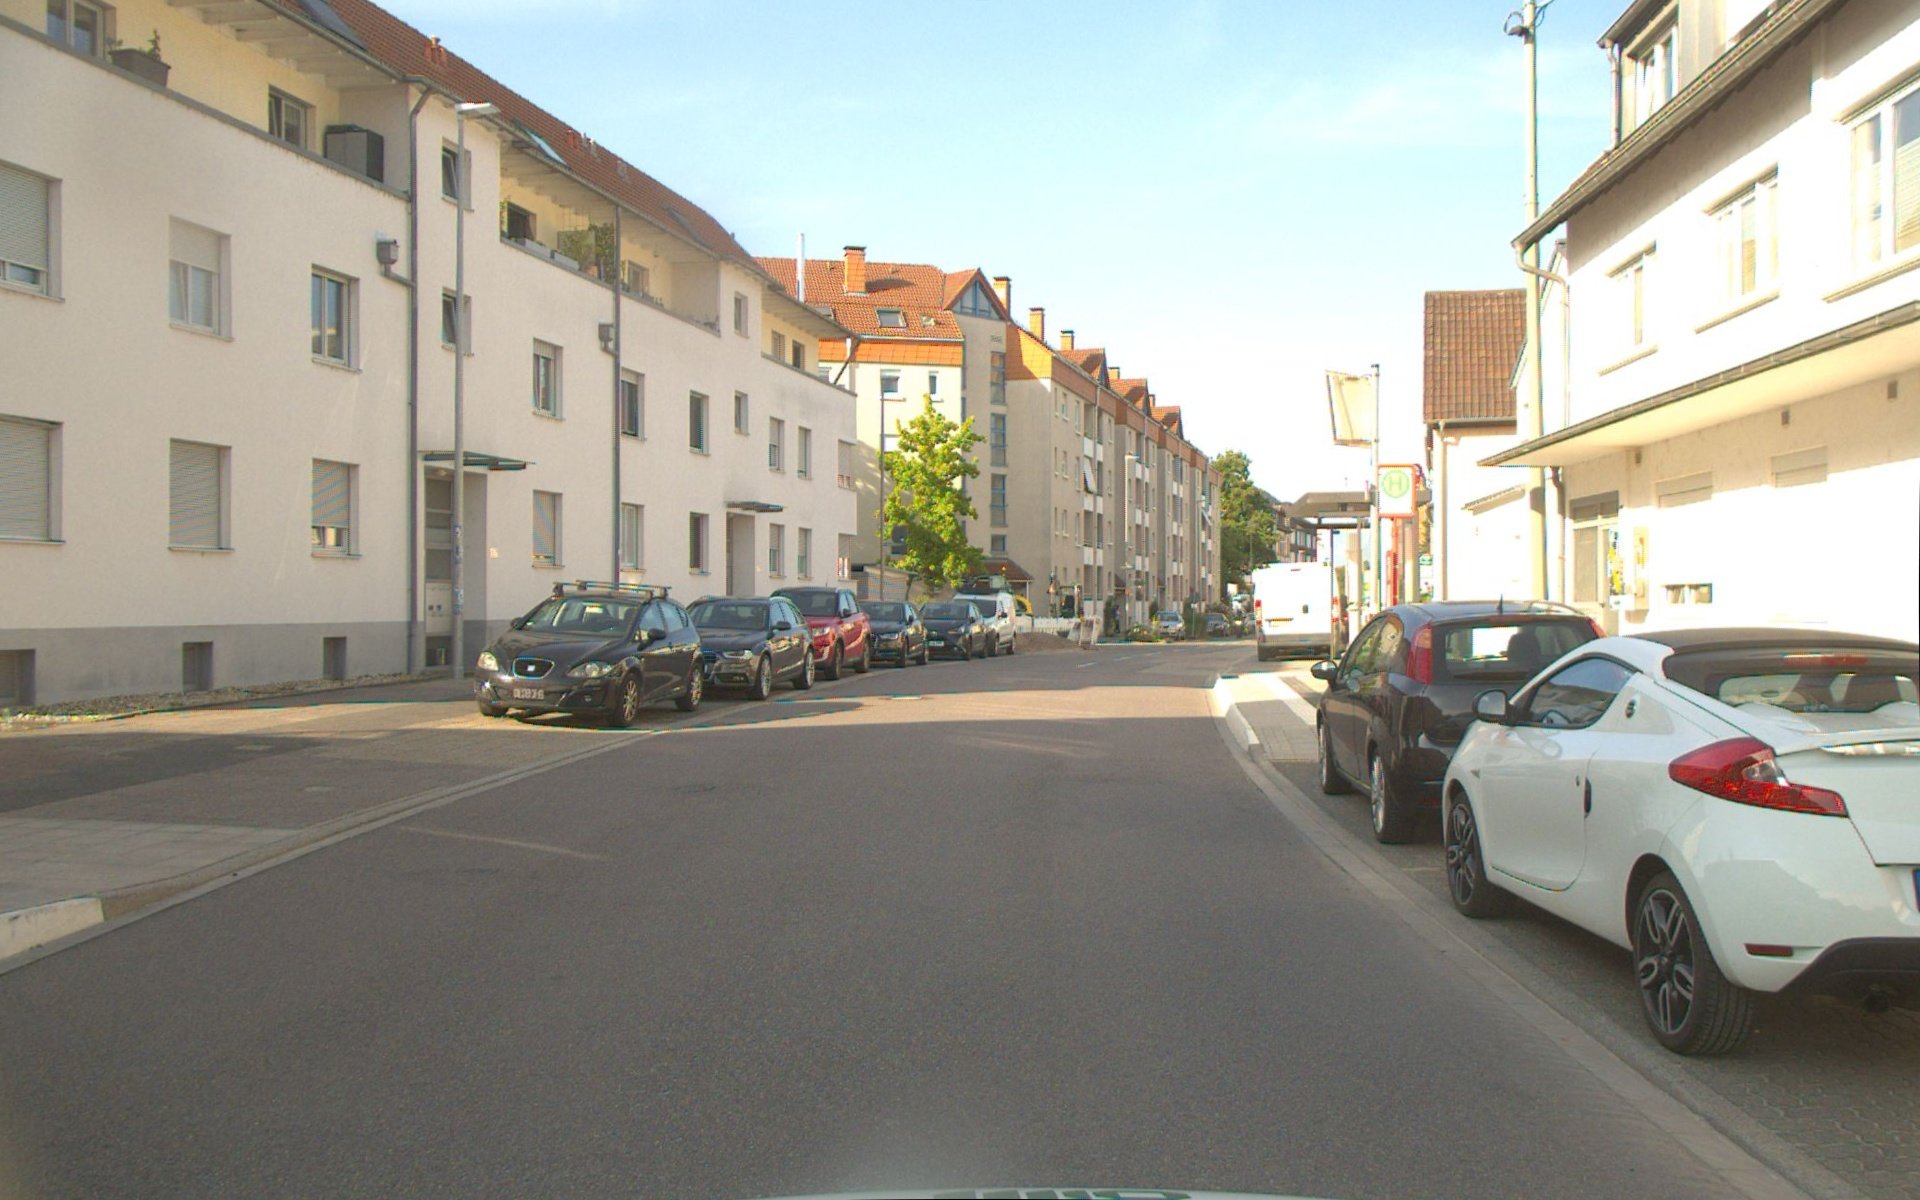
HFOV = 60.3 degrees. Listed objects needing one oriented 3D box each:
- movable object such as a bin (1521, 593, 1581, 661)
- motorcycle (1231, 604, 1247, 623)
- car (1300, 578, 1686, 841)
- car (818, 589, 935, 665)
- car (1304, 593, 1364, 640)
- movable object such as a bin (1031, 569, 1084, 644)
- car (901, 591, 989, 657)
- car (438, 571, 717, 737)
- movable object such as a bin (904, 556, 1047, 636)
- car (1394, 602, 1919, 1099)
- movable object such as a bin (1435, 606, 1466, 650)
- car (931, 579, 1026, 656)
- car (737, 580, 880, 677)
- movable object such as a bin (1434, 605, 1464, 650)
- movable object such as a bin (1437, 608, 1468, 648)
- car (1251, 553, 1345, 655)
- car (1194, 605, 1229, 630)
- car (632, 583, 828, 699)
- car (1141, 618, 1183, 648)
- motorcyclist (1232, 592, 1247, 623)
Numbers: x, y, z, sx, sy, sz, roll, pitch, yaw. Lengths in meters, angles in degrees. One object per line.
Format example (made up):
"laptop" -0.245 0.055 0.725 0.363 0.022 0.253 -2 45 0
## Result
"movable object such as a bin" 9.897 0.448 27.716 0.794 1.112 0.768 -1 -1 9
"motorcycle" 15.736 0.753 93.143 0.752 1.002 2.201 1 0 13
"car" 3.463 0.627 11.479 1.574 1.446 3.922 -3 0 4
"car" -1.739 0.535 35.865 1.690 1.503 4.267 2 1 8
"car" 15.759 0.669 69.522 2.032 1.888 4.612 -2 0 18
"movable object such as a bin" 4.342 0.271 73.075 1.612 3.193 3.903 1 1 14
"car" -0.337 0.569 41.780 1.461 1.490 3.517 4 1 11
"car" -4.356 0.550 19.549 1.738 1.650 4.181 3 1 8
"movable object such as a bin" 0.618 -0.168 63.921 5.384 2.951 2.112 1 0 1
"car" 3.243 0.754 7.054 1.679 1.422 4.334 1 0 1
"movable object such as a bin" 12.481 0.715 42.115 0.712 1.112 0.554 0 -1 13
"car" 0.580 0.461 46.836 1.691 1.994 4.442 3 1 13
"car" -2.710 0.472 30.564 1.690 1.650 4.267 0 0 8
"movable object such as a bin" 12.623 0.709 42.716 0.712 1.152 0.554 0 -1 13
"movable object such as a bin" 12.316 0.701 41.379 0.712 0.975 0.554 0 -1 13
"car" 8.591 0.111 41.735 2.128 2.368 5.001 -1 0 13
"car" 15.158 1.041 99.625 1.650 1.430 4.087 1 0 15
"car" -3.352 0.550 24.991 1.690 1.503 4.506 3 1 8
"car" 10.081 1.629 82.359 1.605 1.420 3.674 -1 0 14
"motorcyclist" 15.751 0.414 93.144 0.752 1.681 0.844 1 0 14
